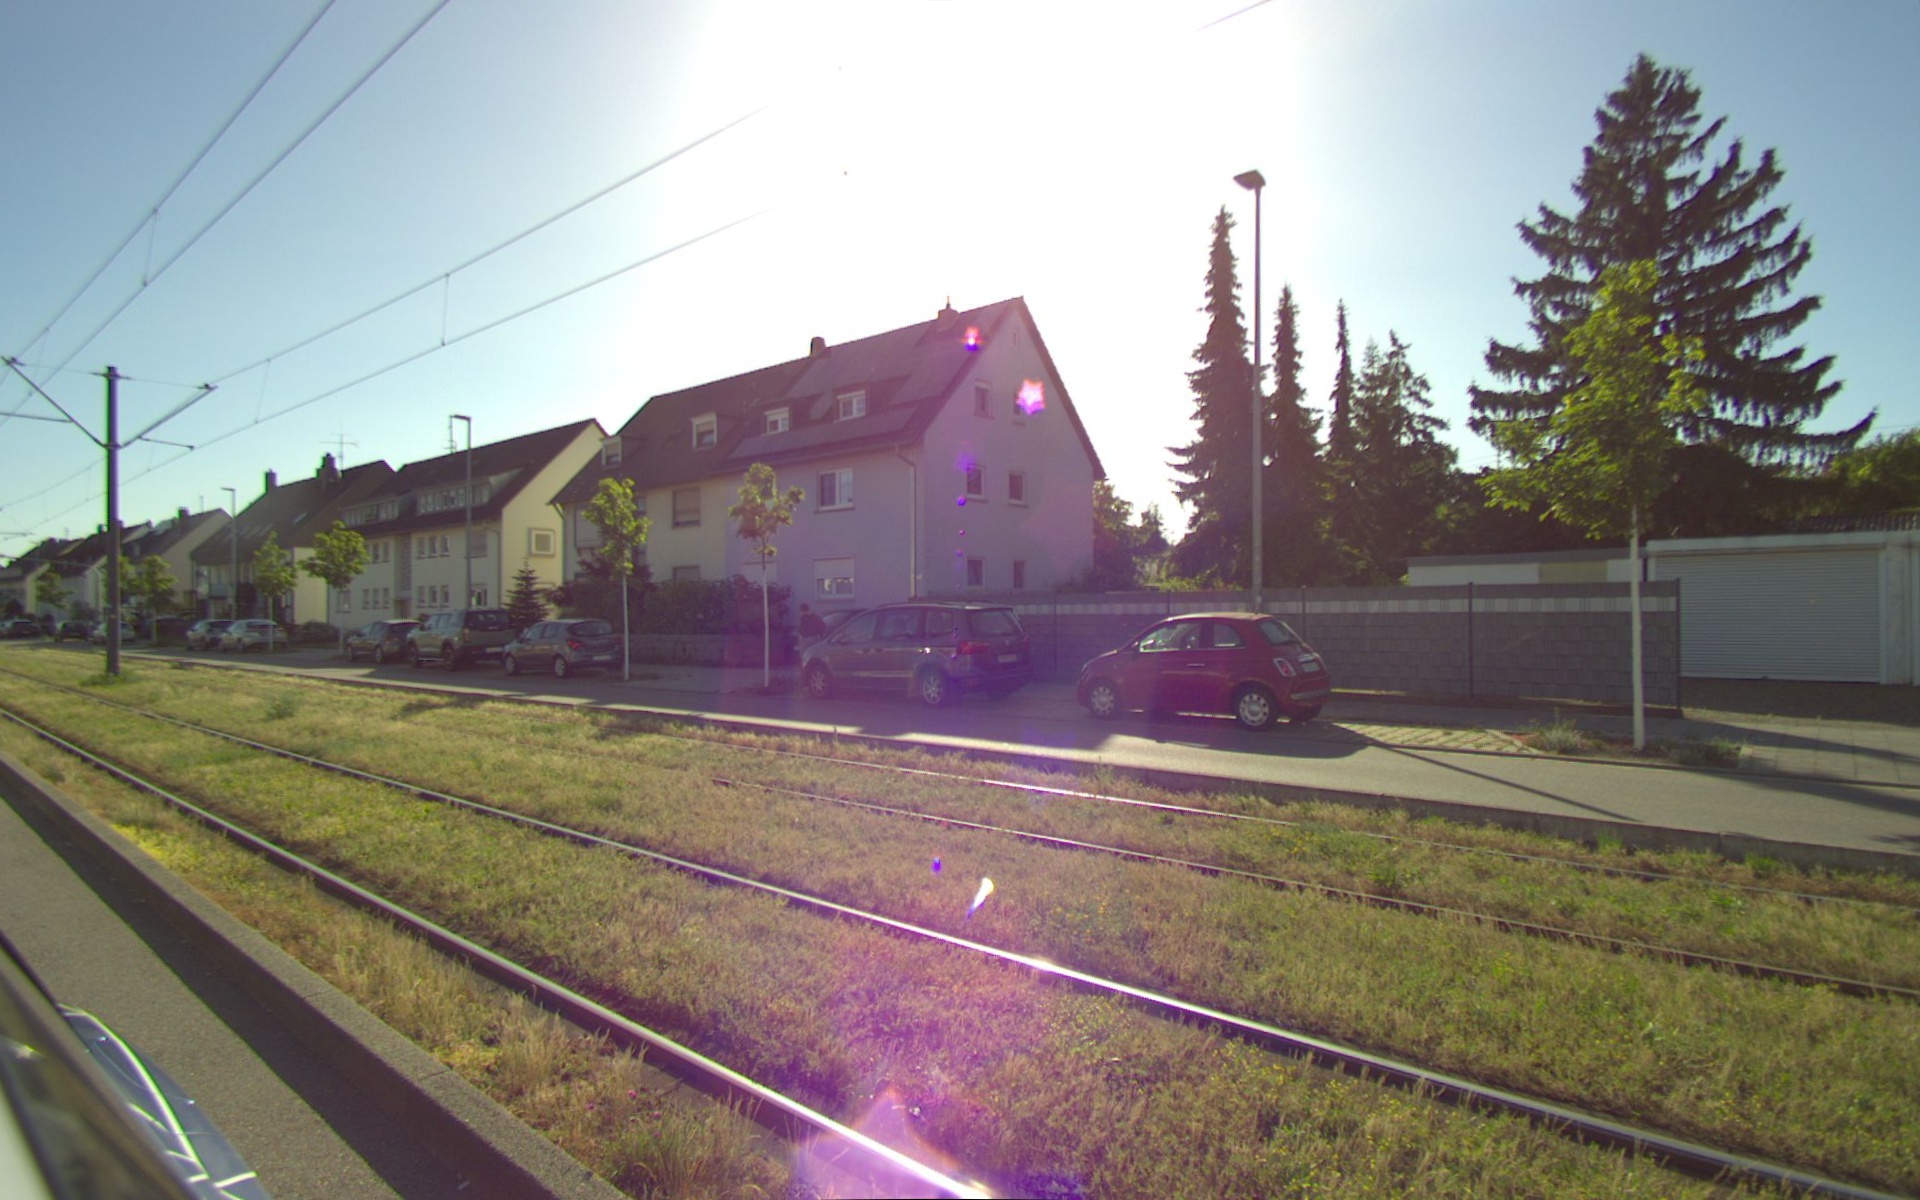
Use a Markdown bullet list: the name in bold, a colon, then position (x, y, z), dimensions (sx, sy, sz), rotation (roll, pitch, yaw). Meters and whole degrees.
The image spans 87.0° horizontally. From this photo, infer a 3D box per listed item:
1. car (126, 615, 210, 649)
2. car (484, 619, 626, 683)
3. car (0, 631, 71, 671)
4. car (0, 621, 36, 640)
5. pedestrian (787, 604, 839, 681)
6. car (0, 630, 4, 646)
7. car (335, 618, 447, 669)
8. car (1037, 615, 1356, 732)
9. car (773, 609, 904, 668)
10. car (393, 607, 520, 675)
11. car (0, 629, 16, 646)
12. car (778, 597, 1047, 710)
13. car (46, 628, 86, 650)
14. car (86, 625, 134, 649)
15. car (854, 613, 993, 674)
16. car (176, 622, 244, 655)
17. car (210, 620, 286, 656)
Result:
- **car**: position (-57.426, 2.301, 73.434), dimensions (1.786, 2.096, 4.416), rotation (-1, 2, 41)
- **car**: position (-10.653, 1.277, 26.506), dimensions (4.045, 1.502, 1.660), rotation (-1, 0, 39)
- **car**: position (-40.525, 2.202, 44.063), dimensions (4.321, 1.614, 1.839), rotation (-1, -4, 37)
- **car**: position (-80.453, 2.572, 86.212), dimensions (4.853, 1.572, 1.902), rotation (-1, 0, 39)
- **pedestrian**: position (-3.291, 0.937, 22.707), dimensions (0.919, 1.652, 0.689), rotation (-1, 0, 39)
- **car**: position (-88.809, 3.466, 92.447), dimensions (4.396, 1.466, 1.637), rotation (-1, 0, 39)
- **car**: position (-19.593, 1.439, 34.760), dimensions (4.554, 1.552, 1.940), rotation (-1, 0, 41)
- **car**: position (3.205, 0.937, 14.234), dimensions (4.077, 1.415, 1.677), rotation (-2, -2, 42)
- **car**: position (-3.366, 1.039, 28.610), dimensions (1.688, 1.472, 3.600), rotation (-1, 0, 36)
- **car**: position (-15.247, 1.200, 30.530), dimensions (4.839, 1.836, 1.727), rotation (-1, 0, 41)
- **car**: position (-84.657, 3.343, 89.293), dimensions (3.994, 1.479, 1.451), rotation (-2, -2, 39)
- **car**: position (-0.968, 0.862, 17.858), dimensions (4.844, 1.697, 1.800), rotation (-1, 0, 42)
- **car**: position (-63.981, 2.780, 72.392), dimensions (4.083, 1.523, 1.602), rotation (-2, 0, 41)
- **car**: position (-54.002, 2.365, 64.280), dimensions (4.099, 1.447, 1.641), rotation (-2, -1, 39)
- **car**: position (-0.923, 1.104, 26.912), dimensions (1.705, 1.485, 3.573), rotation (-1, -1, 42)
- **car**: position (-36.577, 1.837, 49.327), dimensions (4.310, 1.484, 1.672), rotation (-1, 0, 39)
- **car**: position (-31.921, 1.683, 45.335), dimensions (4.438, 1.486, 1.672), rotation (-1, 0, 39)
